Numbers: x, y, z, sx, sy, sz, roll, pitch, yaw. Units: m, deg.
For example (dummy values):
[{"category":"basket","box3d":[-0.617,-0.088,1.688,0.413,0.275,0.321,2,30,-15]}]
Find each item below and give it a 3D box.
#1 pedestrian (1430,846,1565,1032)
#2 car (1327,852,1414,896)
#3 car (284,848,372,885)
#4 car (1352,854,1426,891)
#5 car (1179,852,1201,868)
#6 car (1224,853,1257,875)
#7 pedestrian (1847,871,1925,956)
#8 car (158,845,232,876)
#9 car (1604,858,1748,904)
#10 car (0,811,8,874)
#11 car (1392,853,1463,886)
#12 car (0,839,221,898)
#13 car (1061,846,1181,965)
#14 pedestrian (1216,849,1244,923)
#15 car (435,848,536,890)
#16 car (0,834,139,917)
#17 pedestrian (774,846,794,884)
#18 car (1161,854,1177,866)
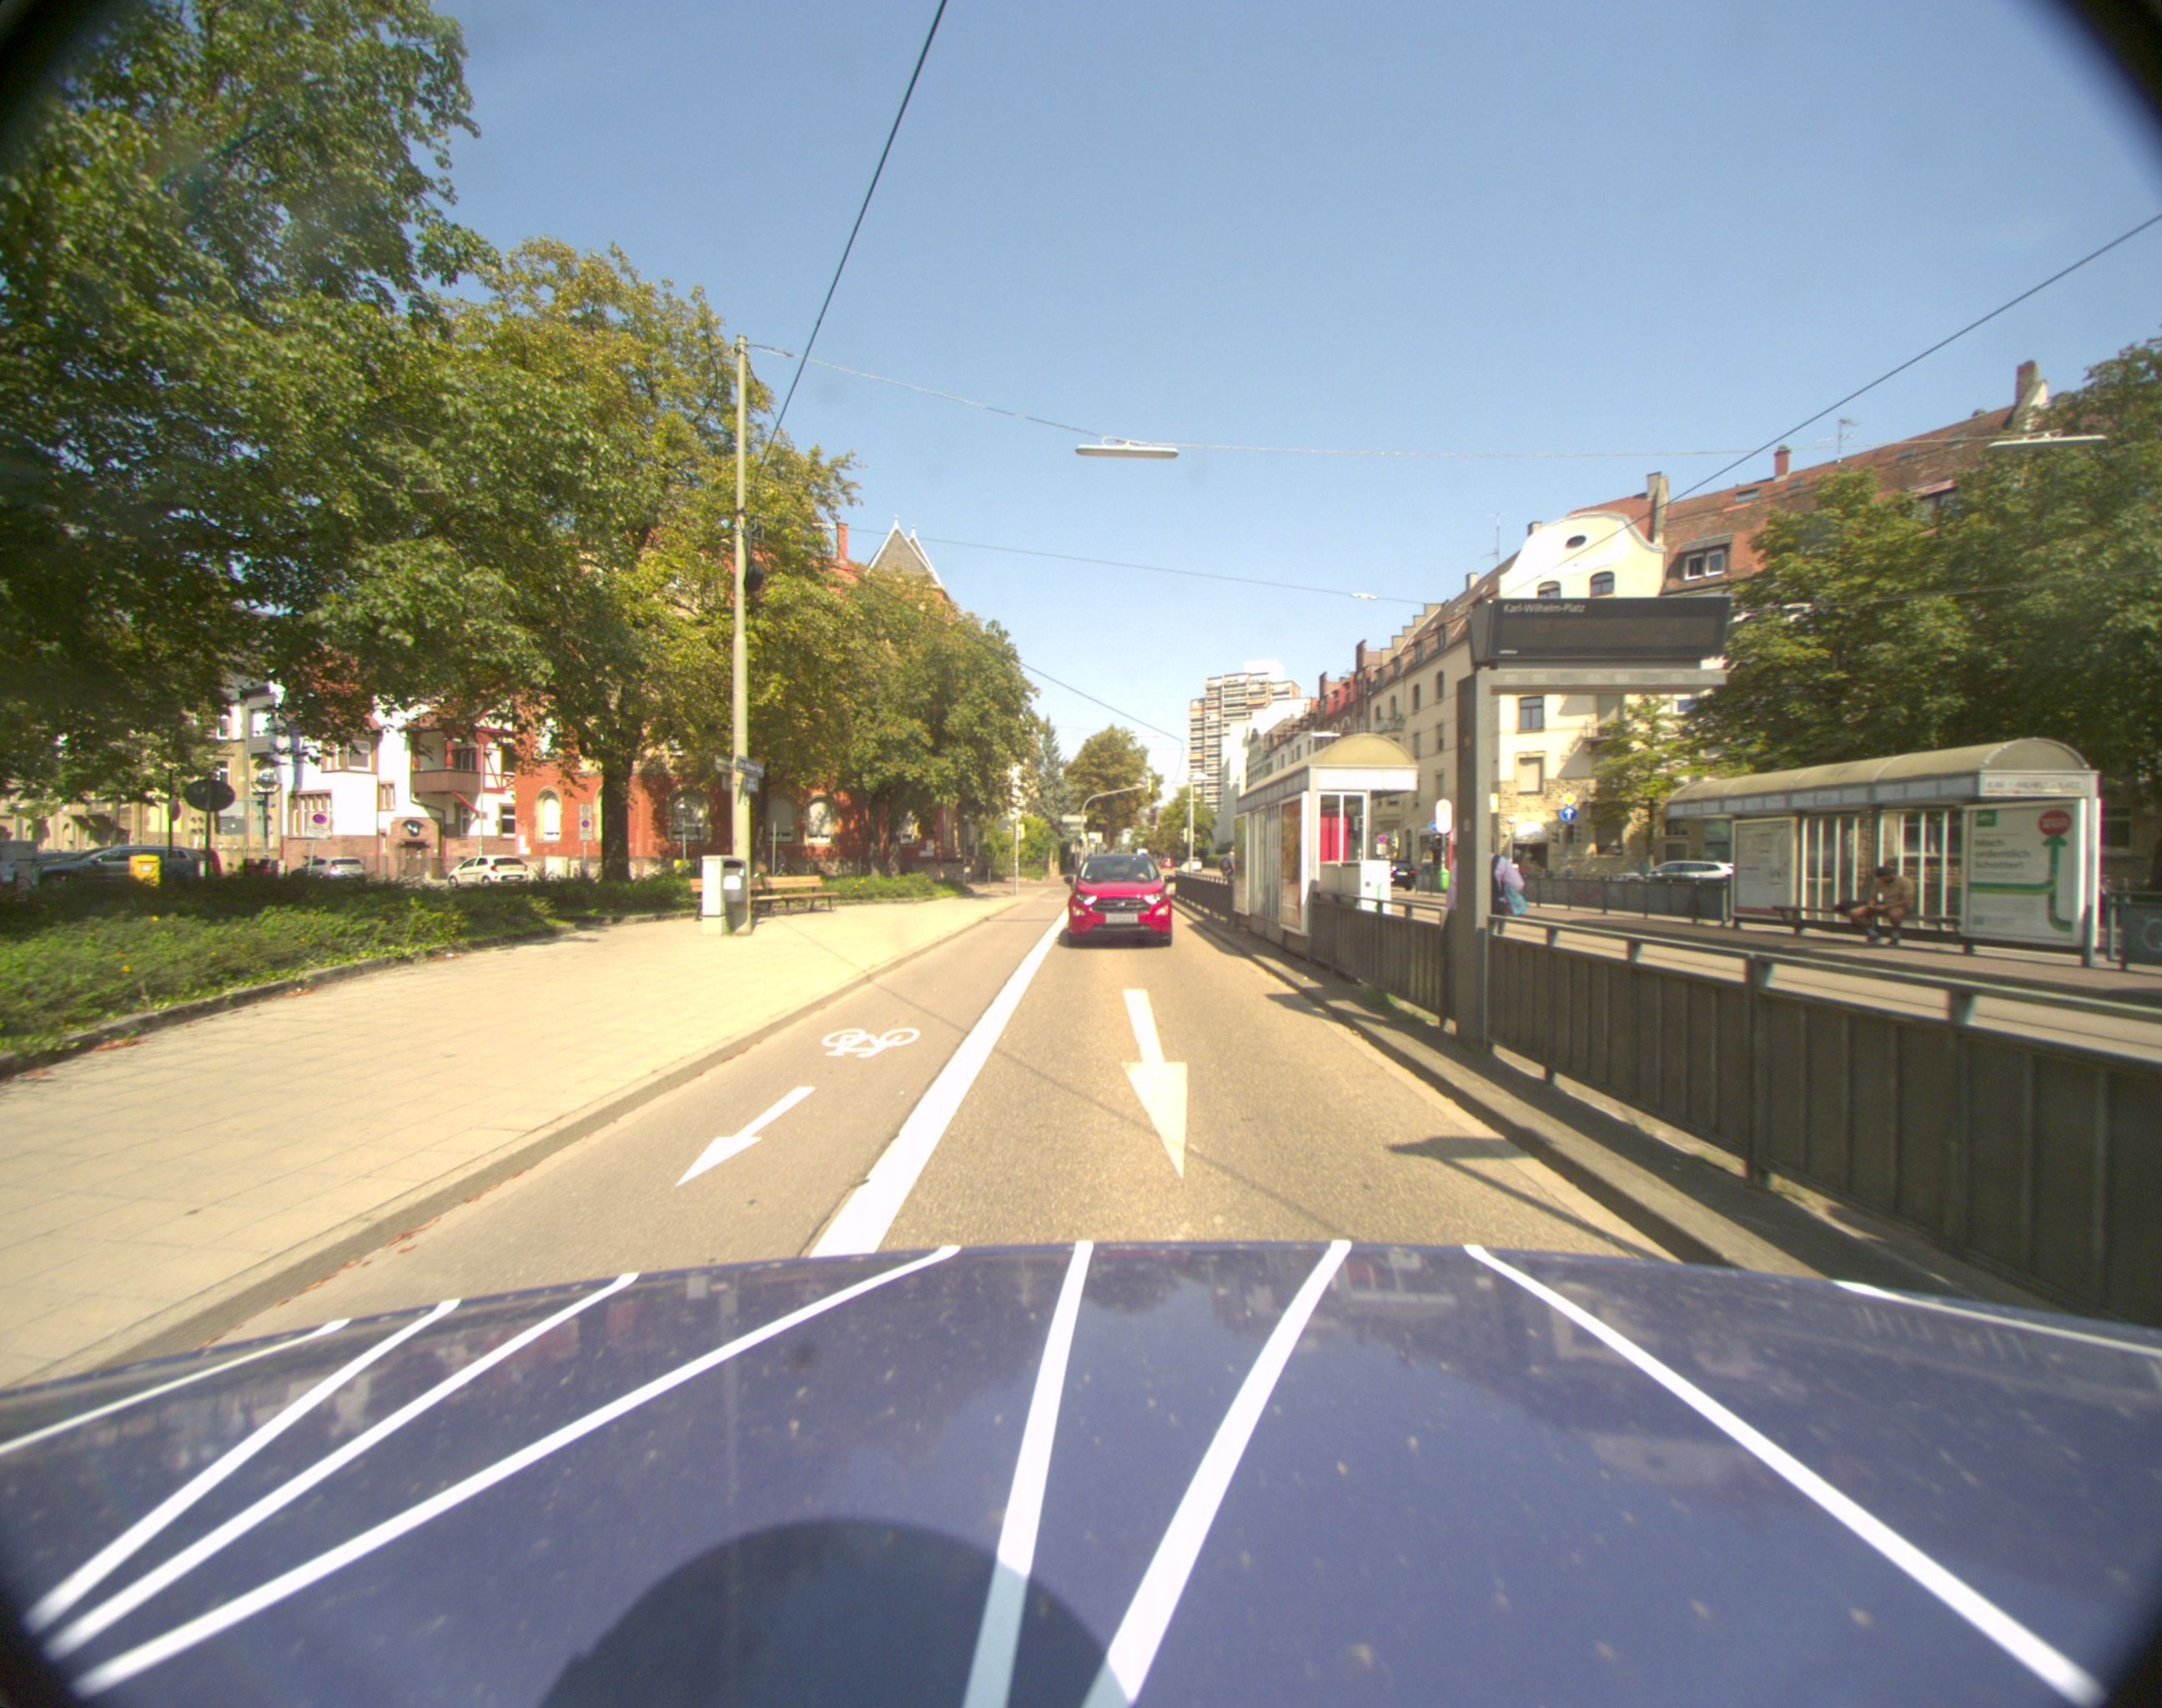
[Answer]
[{"category":"pedestrian","box3d":[3.724,0.717,6.866,0.739,1.575,0.853,0,1,1]},{"category":"car","box3d":[12.303,0.774,32.643,1.998,1.716,4.631,1,0,1]},{"category":"car","box3d":[-39.108,0.618,39.457,4.405,1.801,1.807,0,0,25]},{"category":"car","box3d":[15.522,0.863,38.564,1.998,1.716,4.631,1,0,2]},{"category":"car","box3d":[12.656,0.661,88.544,1.998,1.716,4.631,1,0,2]},{"category":"car","box3d":[13.782,0.828,65.769,1.998,1.716,4.631,1,0,2]},{"category":"pedestrian","box3d":[12.203,0.889,11.538,0.479,1.243,0.648,0,1,3]},{"category":"car","box3d":[-53.984,0.381,46.274,4.405,1.801,1.807,0,0,25]},{"category":"car","box3d":[25.459,1.106,32.643,2.004,1.716,4.616,1,1,-45]},{"category":"car","box3d":[-53.298,-0.553,33.610,1.800,2.959,6.495,0,0,19]},{"category":"car","box3d":[19.318,0.832,42.629,1.998,1.716,4.631,1,0,2]},{"category":"car","box3d":[-32.419,0.437,25.479,1.799,1.801,4.424,0,0,28]},{"category":"car","box3d":[0.625,0.776,13.715,1.803,1.801,4.416,0,0,0]},{"category":"pedestrian","box3d":[3.464,0.731,17.702,0.535,1.684,0.832,0,1,5]},{"category":"car","box3d":[-27.188,0.636,34.675,4.405,1.801,1.807,0,0,25]},{"category":"car","box3d":[-24.488,0.446,16.802,1.799,1.801,4.425,2,1,33]},{"category":"pedestrian","box3d":[-14.873,0.525,37.999,0.677,1.874,0.920,0,1,-39]},{"category":"car","box3d":[13.363,0.864,115.987,1.998,1.716,4.631,1,0,2]}]
